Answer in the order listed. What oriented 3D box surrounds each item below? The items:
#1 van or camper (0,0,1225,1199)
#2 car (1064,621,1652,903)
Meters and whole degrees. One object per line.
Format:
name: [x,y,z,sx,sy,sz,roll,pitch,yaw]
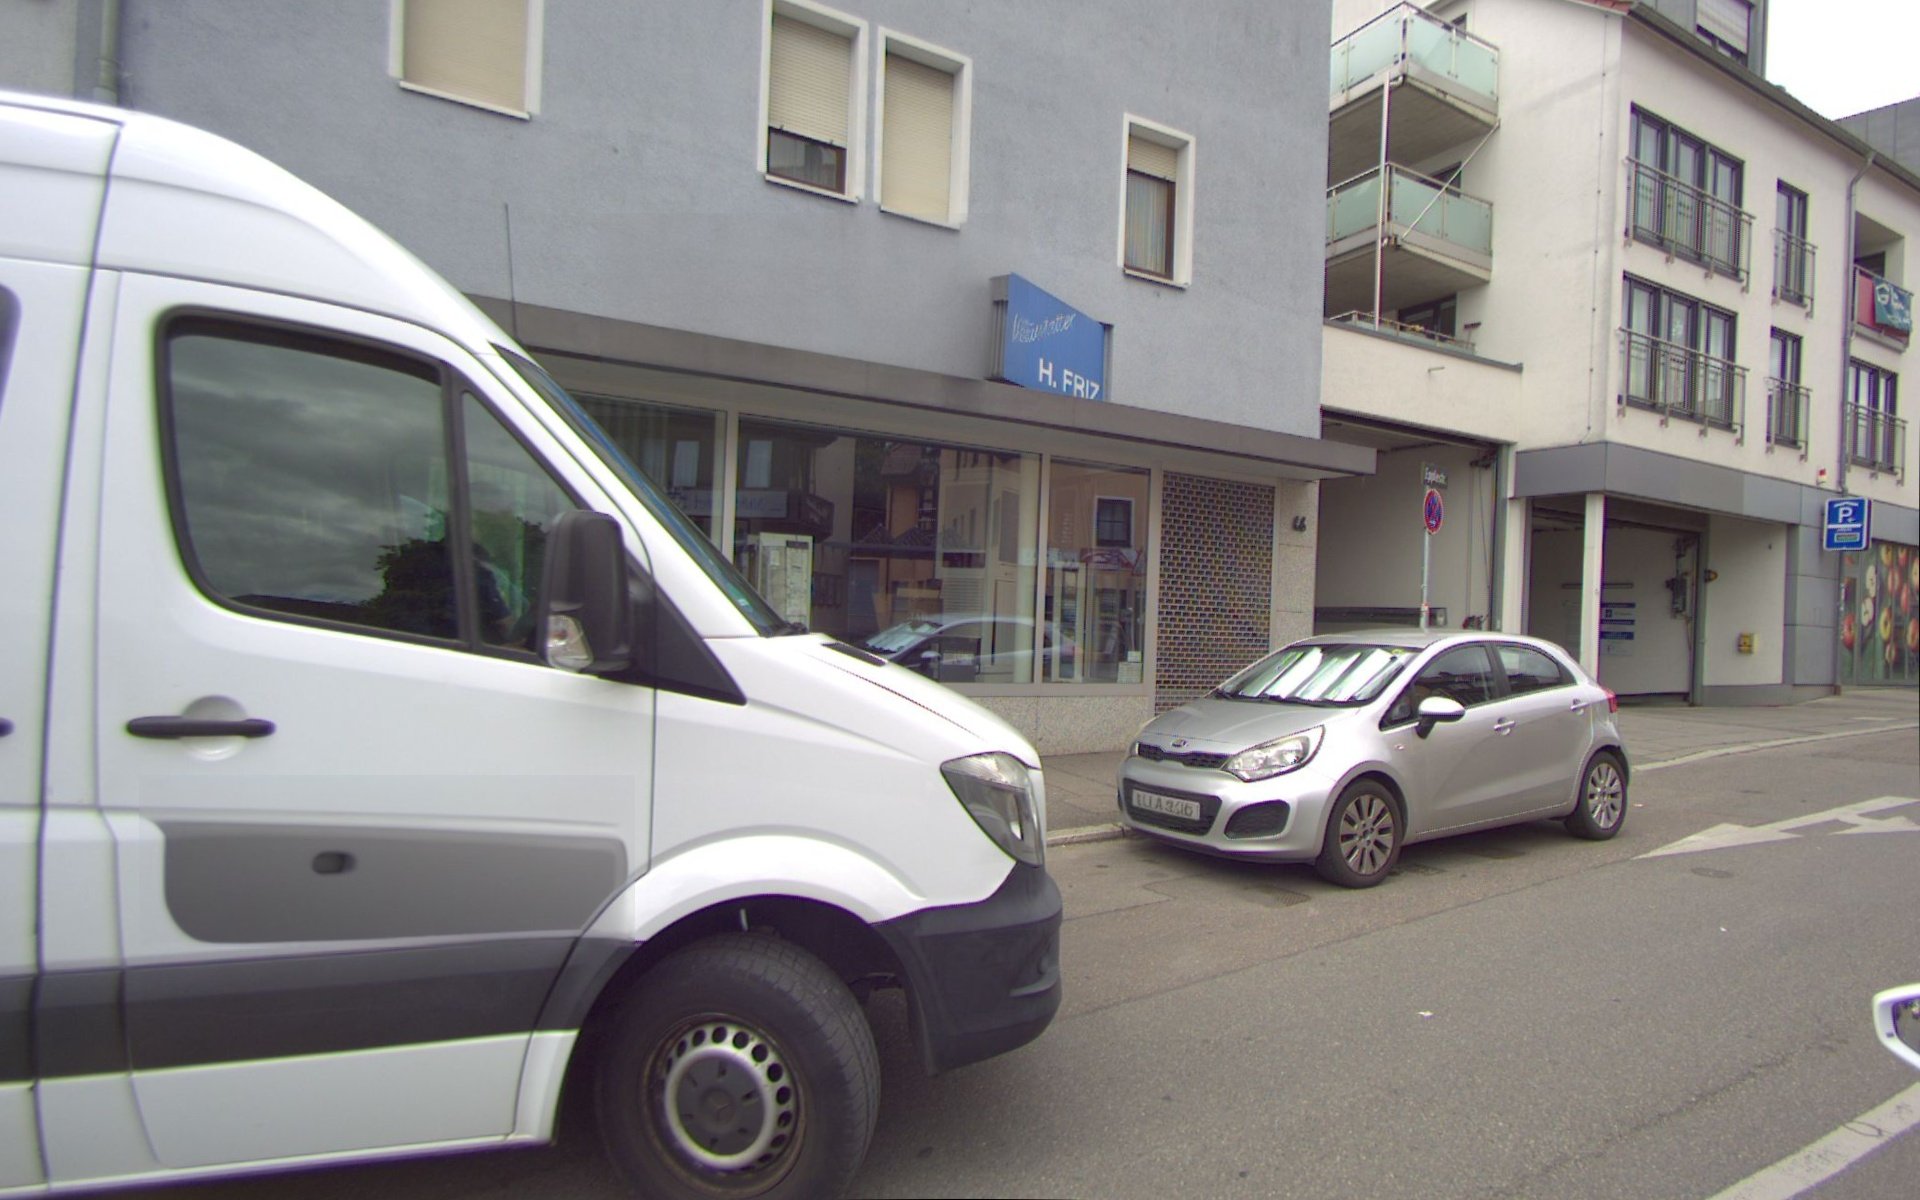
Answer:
van or camper: [-2.571,0.146,2.835,6.106,2.642,2.319,1,-1,-16]
car: [2.837,0.880,6.956,3.955,1.430,1.788,1,-1,-31]
